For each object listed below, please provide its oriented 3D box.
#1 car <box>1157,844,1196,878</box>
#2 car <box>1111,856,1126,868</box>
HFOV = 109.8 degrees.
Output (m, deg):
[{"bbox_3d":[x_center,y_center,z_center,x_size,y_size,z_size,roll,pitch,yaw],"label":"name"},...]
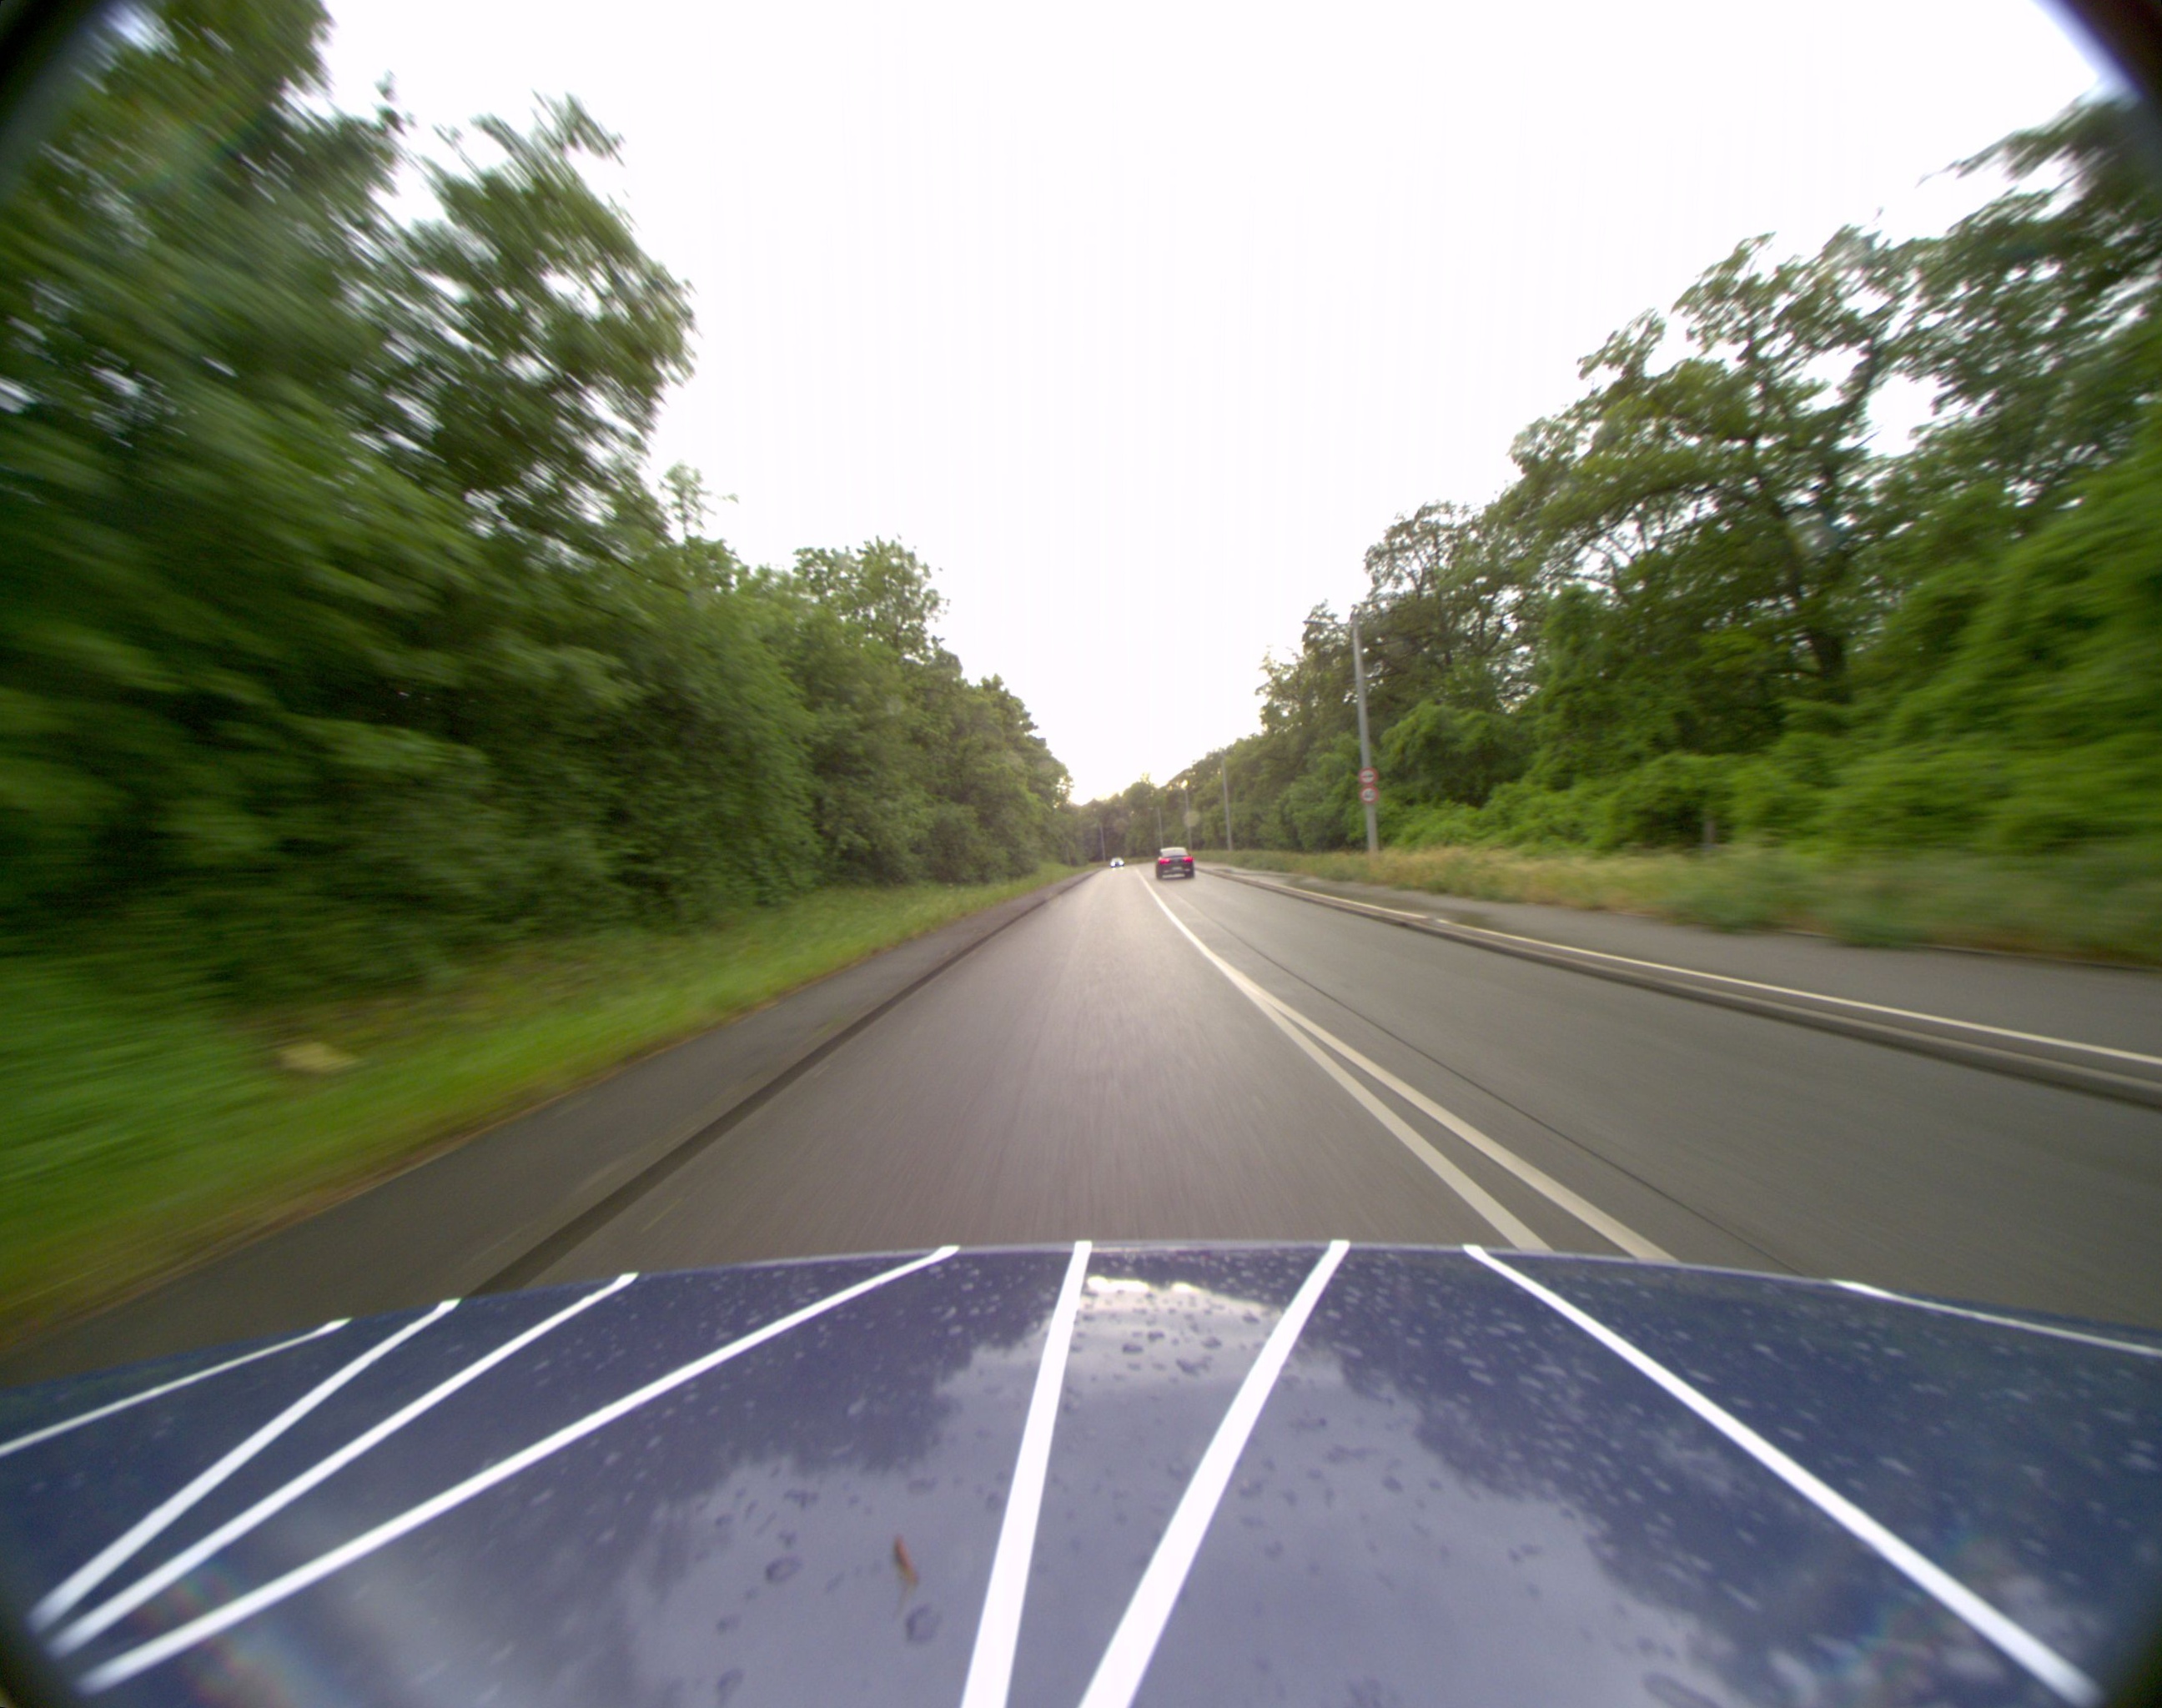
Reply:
[{"bbox_3d":[5.428,0.353,43.540,1.998,1.776,4.709,-3,0,5],"label":"car"},{"bbox_3d":[5.314,1.133,108.054,1.781,1.477,4.000,-3,0,0],"label":"car"}]
